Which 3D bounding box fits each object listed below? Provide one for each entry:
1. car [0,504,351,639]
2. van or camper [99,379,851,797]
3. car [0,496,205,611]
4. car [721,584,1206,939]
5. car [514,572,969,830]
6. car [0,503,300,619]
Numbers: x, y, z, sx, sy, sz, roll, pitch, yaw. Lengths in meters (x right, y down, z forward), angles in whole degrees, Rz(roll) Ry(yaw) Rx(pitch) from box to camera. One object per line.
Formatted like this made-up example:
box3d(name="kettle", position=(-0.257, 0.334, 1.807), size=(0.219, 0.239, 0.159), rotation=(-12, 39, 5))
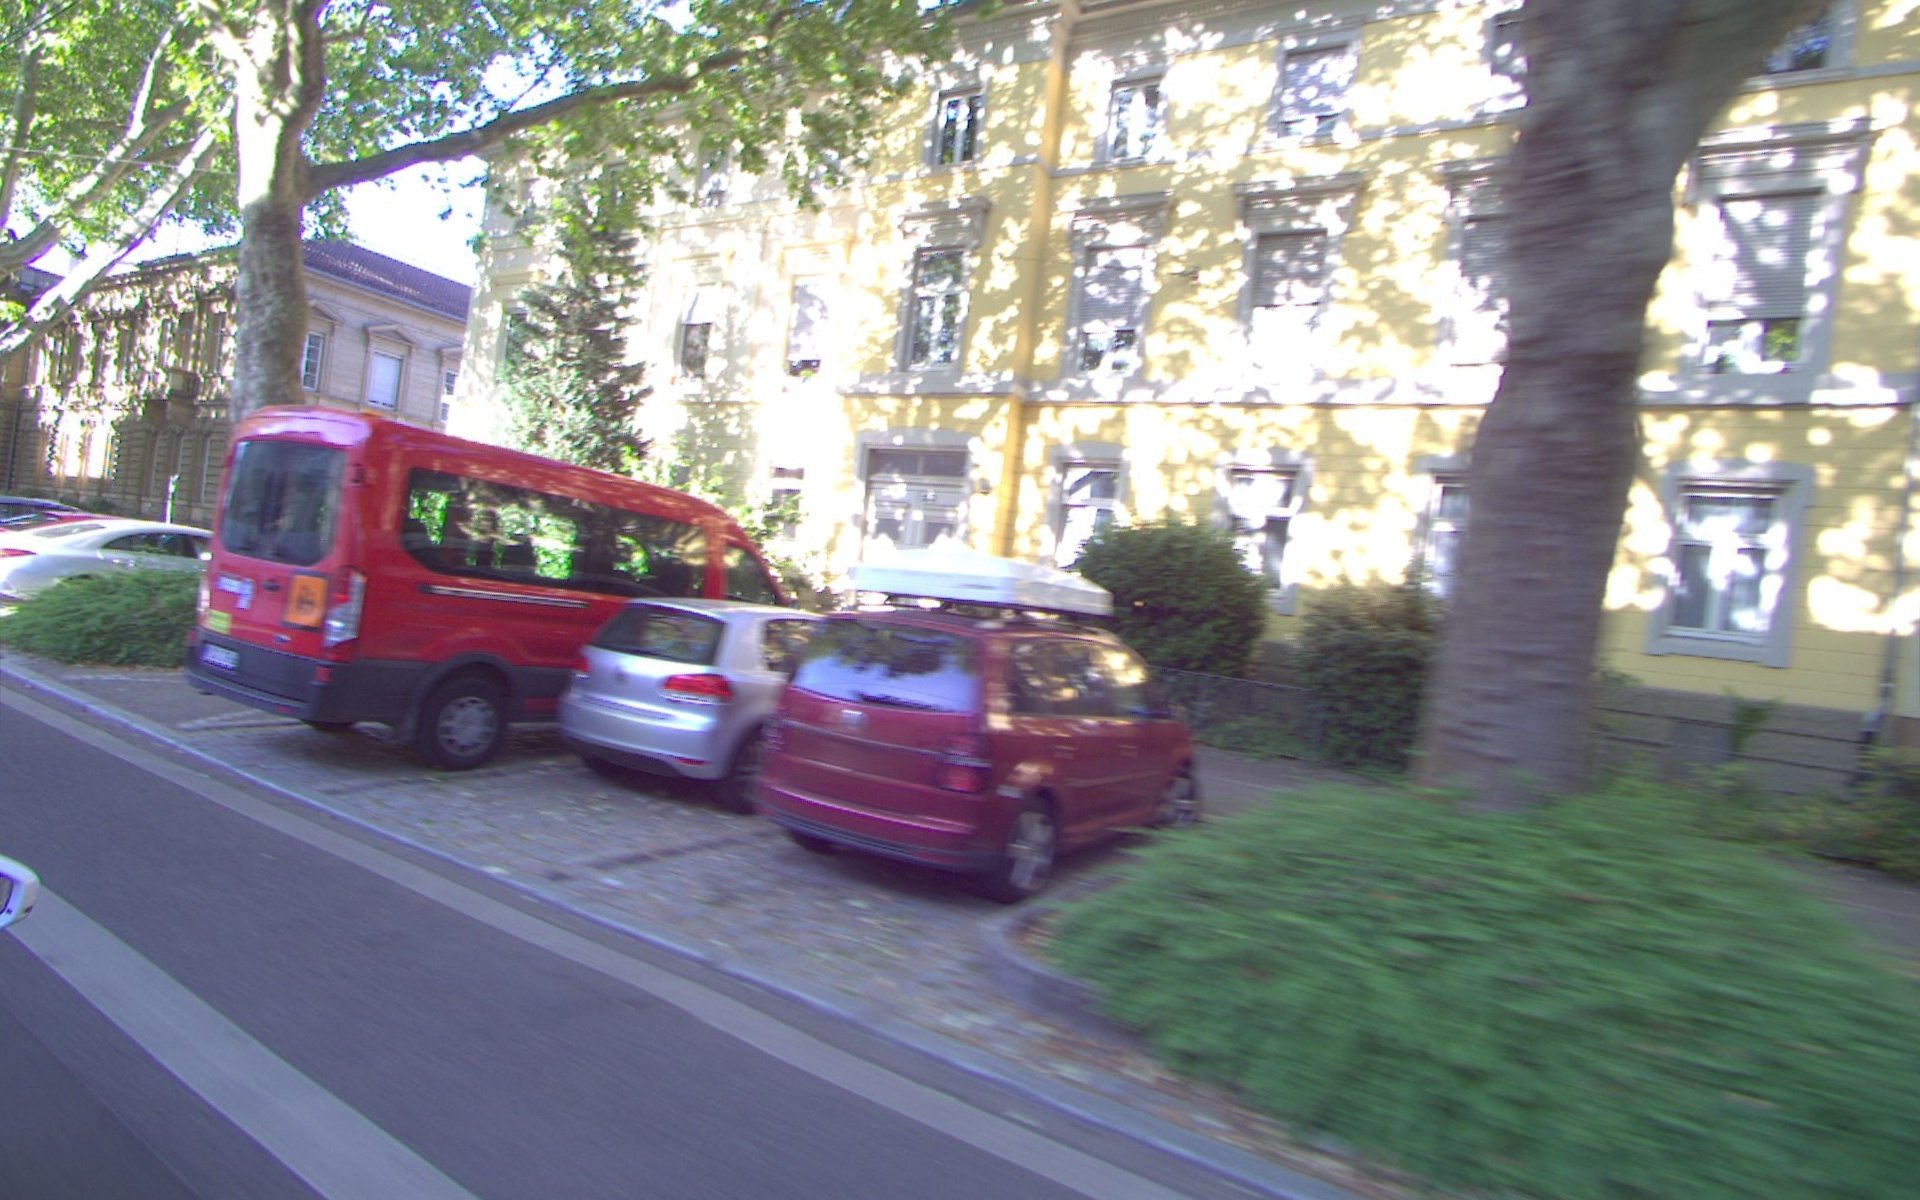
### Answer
box3d(name="car", position=(-11.144, -0.357, 13.880), size=(1.731, 1.434, 4.289), rotation=(7, 0, 33))
box3d(name="van or camper", position=(-3.738, -0.034, 9.261), size=(2.248, 2.551, 5.823), rotation=(8, 1, 29))
box3d(name="car", position=(-15.208, -0.839, 16.757), size=(1.653, 1.525, 3.759), rotation=(7, -2, 31))
box3d(name="car", position=(0.330, 0.910, 7.156), size=(1.737, 1.669, 3.824), rotation=(5, 0, 28))
box3d(name="car", position=(-1.595, 0.775, 8.629), size=(1.640, 1.548, 3.741), rotation=(7, 0, 28))
box3d(name="car", position=(-12.787, -0.566, 15.701), size=(1.651, 1.404, 3.759), rotation=(7, 0, 26))
